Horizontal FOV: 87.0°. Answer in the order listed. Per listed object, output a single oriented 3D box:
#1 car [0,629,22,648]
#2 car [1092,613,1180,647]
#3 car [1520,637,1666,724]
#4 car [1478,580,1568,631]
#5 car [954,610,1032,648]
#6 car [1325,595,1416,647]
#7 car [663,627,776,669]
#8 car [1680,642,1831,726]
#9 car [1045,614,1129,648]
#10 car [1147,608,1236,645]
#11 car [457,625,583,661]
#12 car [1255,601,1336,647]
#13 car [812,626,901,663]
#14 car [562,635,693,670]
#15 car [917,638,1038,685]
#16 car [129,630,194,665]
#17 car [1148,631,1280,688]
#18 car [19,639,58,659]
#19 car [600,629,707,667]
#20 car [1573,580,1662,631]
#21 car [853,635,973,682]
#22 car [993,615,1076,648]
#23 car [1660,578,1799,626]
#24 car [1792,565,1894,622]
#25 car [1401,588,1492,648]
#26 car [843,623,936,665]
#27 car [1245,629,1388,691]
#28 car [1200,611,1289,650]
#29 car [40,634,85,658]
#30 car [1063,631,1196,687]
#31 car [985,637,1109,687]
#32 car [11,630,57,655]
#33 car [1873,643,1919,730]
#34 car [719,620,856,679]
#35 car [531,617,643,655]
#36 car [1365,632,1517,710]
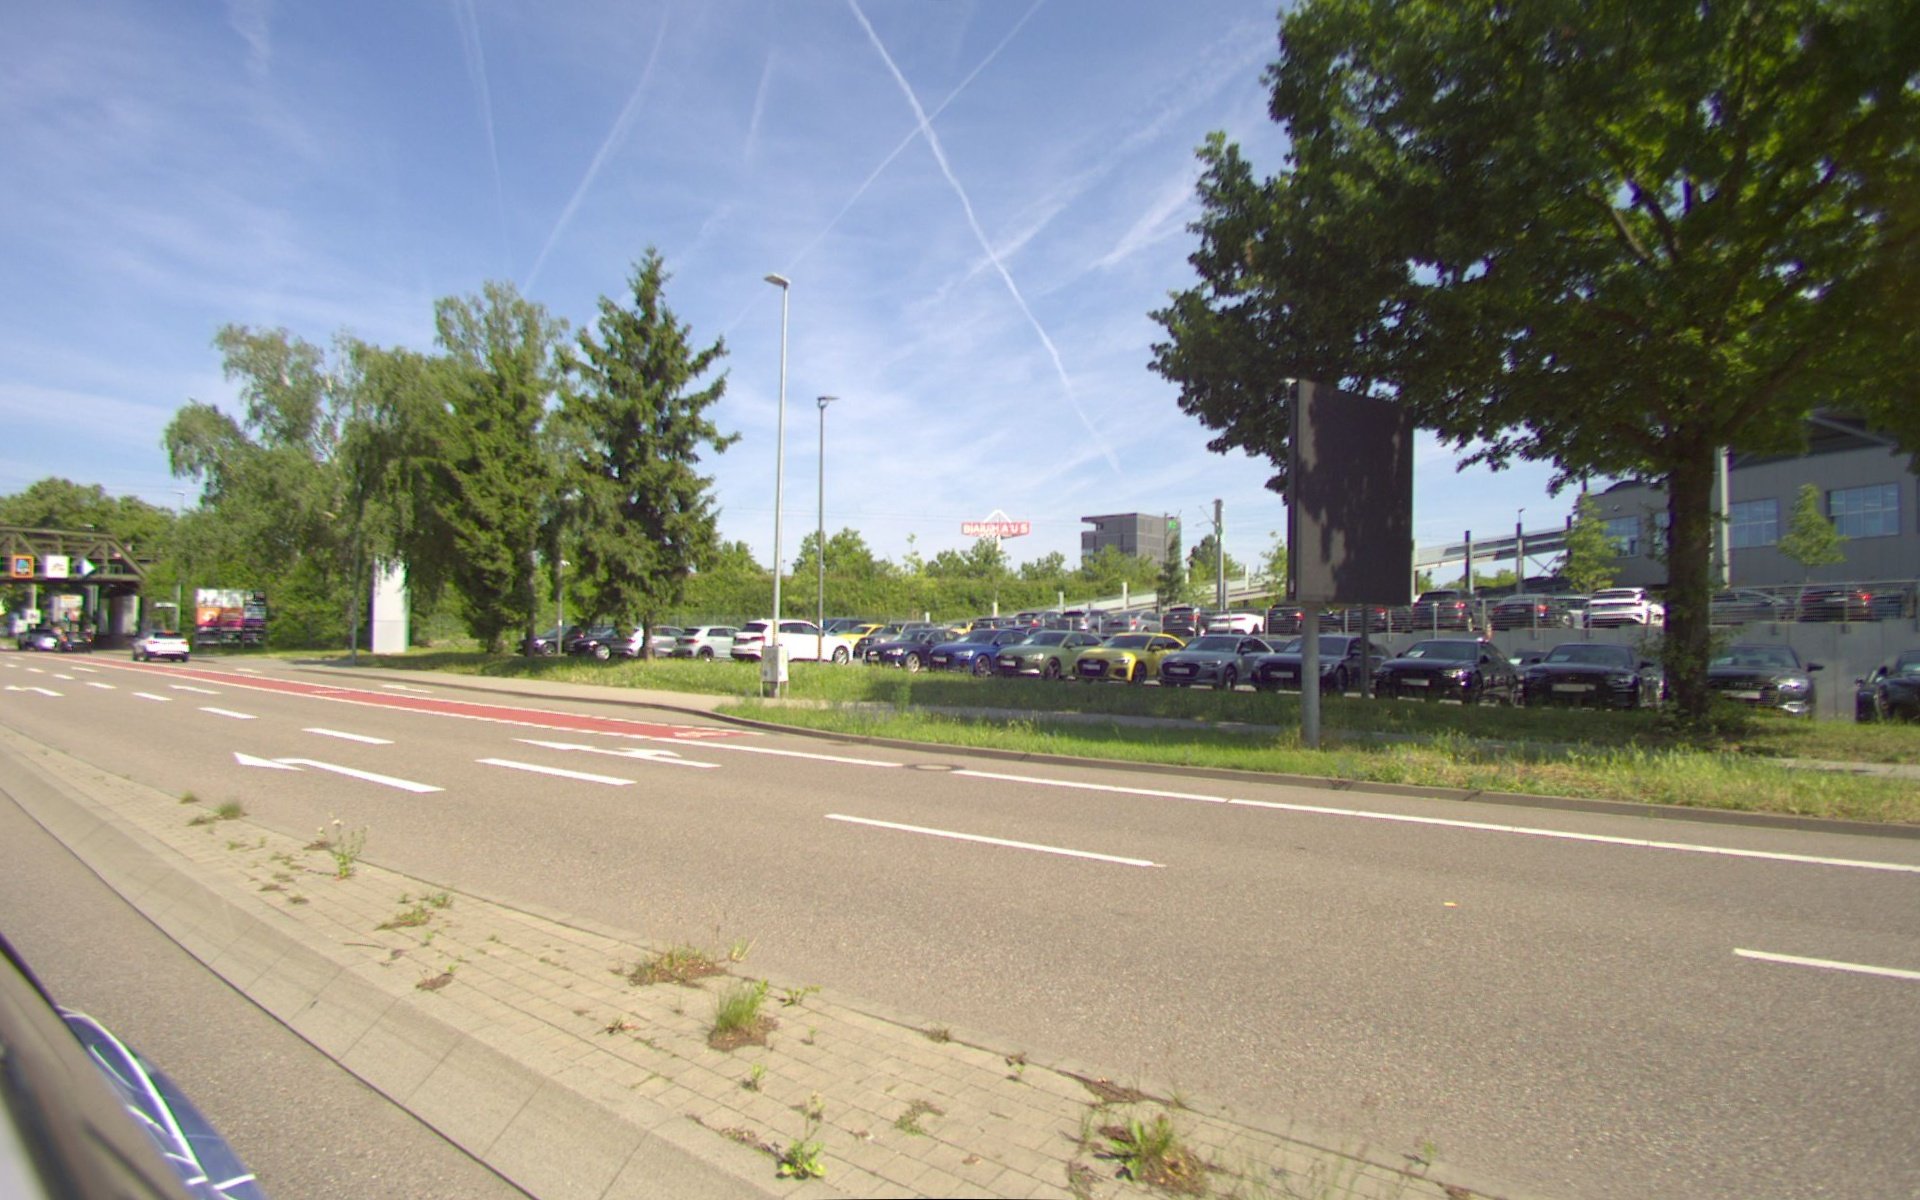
[{"bbox_3d":[-85.035,3.422,90.000,4.384,1.608,1.853,-2,-3,41],"label":"car"},{"bbox_3d":[7.790,1.288,44.569,1.889,1.429,4.455,-2,-1,39],"label":"car"},{"bbox_3d":[12.479,1.481,19.824,1.917,1.487,4.455,-1,-3,39],"label":"car"},{"bbox_3d":[19.343,0.250,34.671,1.977,1.563,4.455,-1,-3,39],"label":"car"},{"bbox_3d":[1.665,1.404,49.798,1.996,1.746,3.952,-1,-1,35],"label":"car"},{"bbox_3d":[15.434,0.820,37.898,1.977,1.829,4.455,-1,-3,39],"label":"car"},{"bbox_3d":[-9.369,1.833,39.622,1.848,1.497,3.942,-2,-1,44],"label":"car"},{"bbox_3d":[14.324,1.420,18.263,1.917,1.300,4.455,-1,-3,39],"label":"car"},{"bbox_3d":[5.873,1.400,46.553,1.997,1.488,4.162,-2,-1,37],"label":"car"},{"bbox_3d":[9.885,1.169,42.970,1.977,1.496,4.455,-1,-3,39],"label":"car"},{"bbox_3d":[-19.068,1.832,44.025,1.999,1.400,4.638,-2,-1,40],"label":"car"},{"bbox_3d":[13.227,0.985,39.732,1.663,1.718,4.226,-1,-3,39],"label":"car"},{"bbox_3d":[-4.900,2.071,48.430,1.999,1.634,3.945,-2,-1,41],"label":"car"},{"bbox_3d":[-13.549,2.110,41.498,1.999,1.278,4.801,-2,-1,40],"label":"car"},{"bbox_3d":[0.569,1.830,29.857,1.742,1.295,3.558,-2,-4,39],"label":"car"},{"bbox_3d":[-39.169,2.318,49.609,1.971,1.630,4.106,4,-4,-45],"label":"car"},{"bbox_3d":[6.331,1.478,25.009,1.863,1.295,3.558,-2,-4,39],"label":"car"},{"bbox_3d":[-68.420,3.600,75.088,4.316,1.398,1.618,-2,-4,41],"label":"car"},{"bbox_3d":[-12.061,1.862,39.947,1.815,1.381,3.642,-2,-1,40],"label":"car"},{"bbox_3d":[21.389,0.226,32.856,1.977,1.496,4.455,-1,-3,39],"label":"car"},{"bbox_3d":[-1.419,1.778,31.675,1.742,1.295,3.754,-2,-1,39],"label":"car"},{"bbox_3d":[3.597,1.467,48.267,1.997,1.488,4.162,-2,-1,37],"label":"car"},{"bbox_3d":[27.139,0.102,35.729,3.786,1.585,1.931,-2,-1,40],"label":"car"},{"bbox_3d":[25.379,-0.153,29.180,2.050,1.507,3.946,-2,-1,40],"label":"car"},{"bbox_3d":[17.434,0.692,36.159,1.977,1.977,4.455,-1,-3,39],"label":"car"},{"bbox_3d":[-3.177,1.971,46.147,1.999,1.770,3.945,-2,-1,41],"label":"car"},{"bbox_3d":[8.200,1.378,23.115,1.983,1.295,3.643,-2,-4,39],"label":"car"},{"bbox_3d":[11.719,1.280,41.518,1.977,1.496,4.455,-1,-3,39],"label":"car"},{"bbox_3d":[-60.540,3.119,68.271,4.024,1.530,1.680,-2,-4,41],"label":"car"},{"bbox_3d":[4.539,1.576,26.780,1.838,1.351,3.849,-2,-4,39],"label":"car"},{"bbox_3d":[2.483,1.751,28.243,1.661,1.295,3.705,-2,-4,39],"label":"car"},{"bbox_3d":[-73.803,3.397,80.596,5.447,1.875,1.973,-2,-5,41],"label":"car"},{"bbox_3d":[16.278,1.357,16.383,1.917,1.300,4.455,-1,-3,39],"label":"car"},{"bbox_3d":[-5.929,1.657,35.159,1.999,1.889,4.416,-2,-1,42],"label":"car"},{"bbox_3d":[-16.178,1.525,44.008,1.999,1.558,4.170,-2,-1,40],"label":"car"},{"bbox_3d":[10.400,1.452,21.709,1.977,1.487,4.455,-1,-3,39],"label":"car"}]
